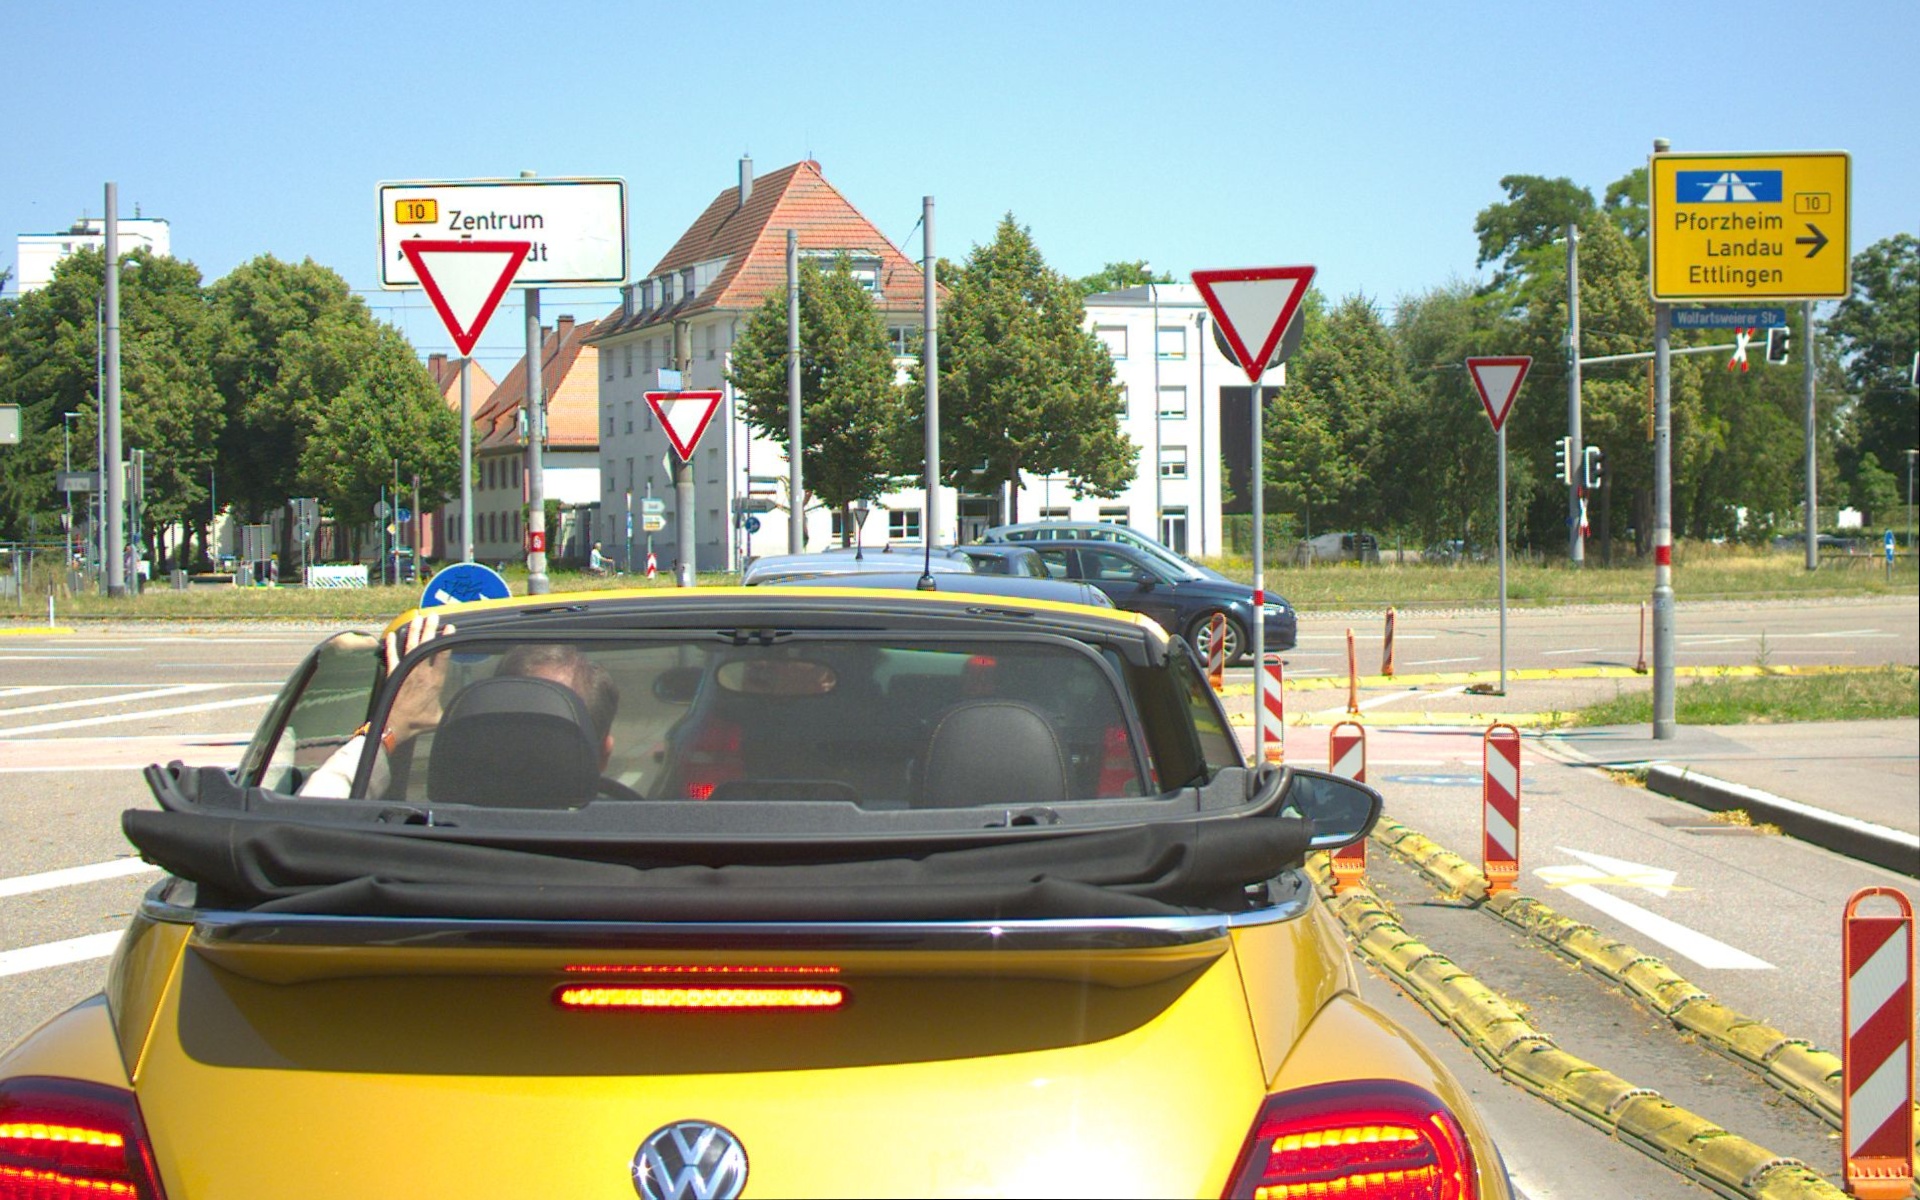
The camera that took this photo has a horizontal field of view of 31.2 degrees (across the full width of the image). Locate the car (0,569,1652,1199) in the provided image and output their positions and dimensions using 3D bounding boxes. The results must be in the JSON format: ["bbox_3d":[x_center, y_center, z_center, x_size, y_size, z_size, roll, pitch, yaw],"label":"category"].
[{"bbox_3d":[-0.309,0.680,4.856,1.752,1.417,3.778,0,1,-1],"label":"car"}]

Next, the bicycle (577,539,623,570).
[{"bbox_3d":[-12.216,-1.546,116.592,1.465,1.067,0.499,0,1,-19],"label":"bicycle"}]

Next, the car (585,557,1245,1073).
[{"bbox_3d":[-0.146,0.581,11.661,1.848,1.437,4.000,0,1,-1],"label":"car"}]

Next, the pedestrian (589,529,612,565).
[{"bbox_3d":[-12.179,-1.793,116.600,0.675,1.226,0.499,0,1,-19],"label":"pedestrian"}]

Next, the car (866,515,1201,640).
[{"bbox_3d":[0.939,-0.285,42.348,3.988,1.491,1.800,0,1,6],"label":"car"}]

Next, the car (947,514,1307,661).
[{"bbox_3d":[1.888,-0.151,39.075,3.999,1.614,1.737,0,1,3],"label":"car"}]

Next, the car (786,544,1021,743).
[{"bbox_3d":[-0.441,0.294,27.475,1.736,1.472,4.000,0,1,-1],"label":"car"}]

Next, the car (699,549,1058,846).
[{"bbox_3d":[-0.413,0.443,18.673,1.736,1.437,4.000,0,1,-1],"label":"car"}]
